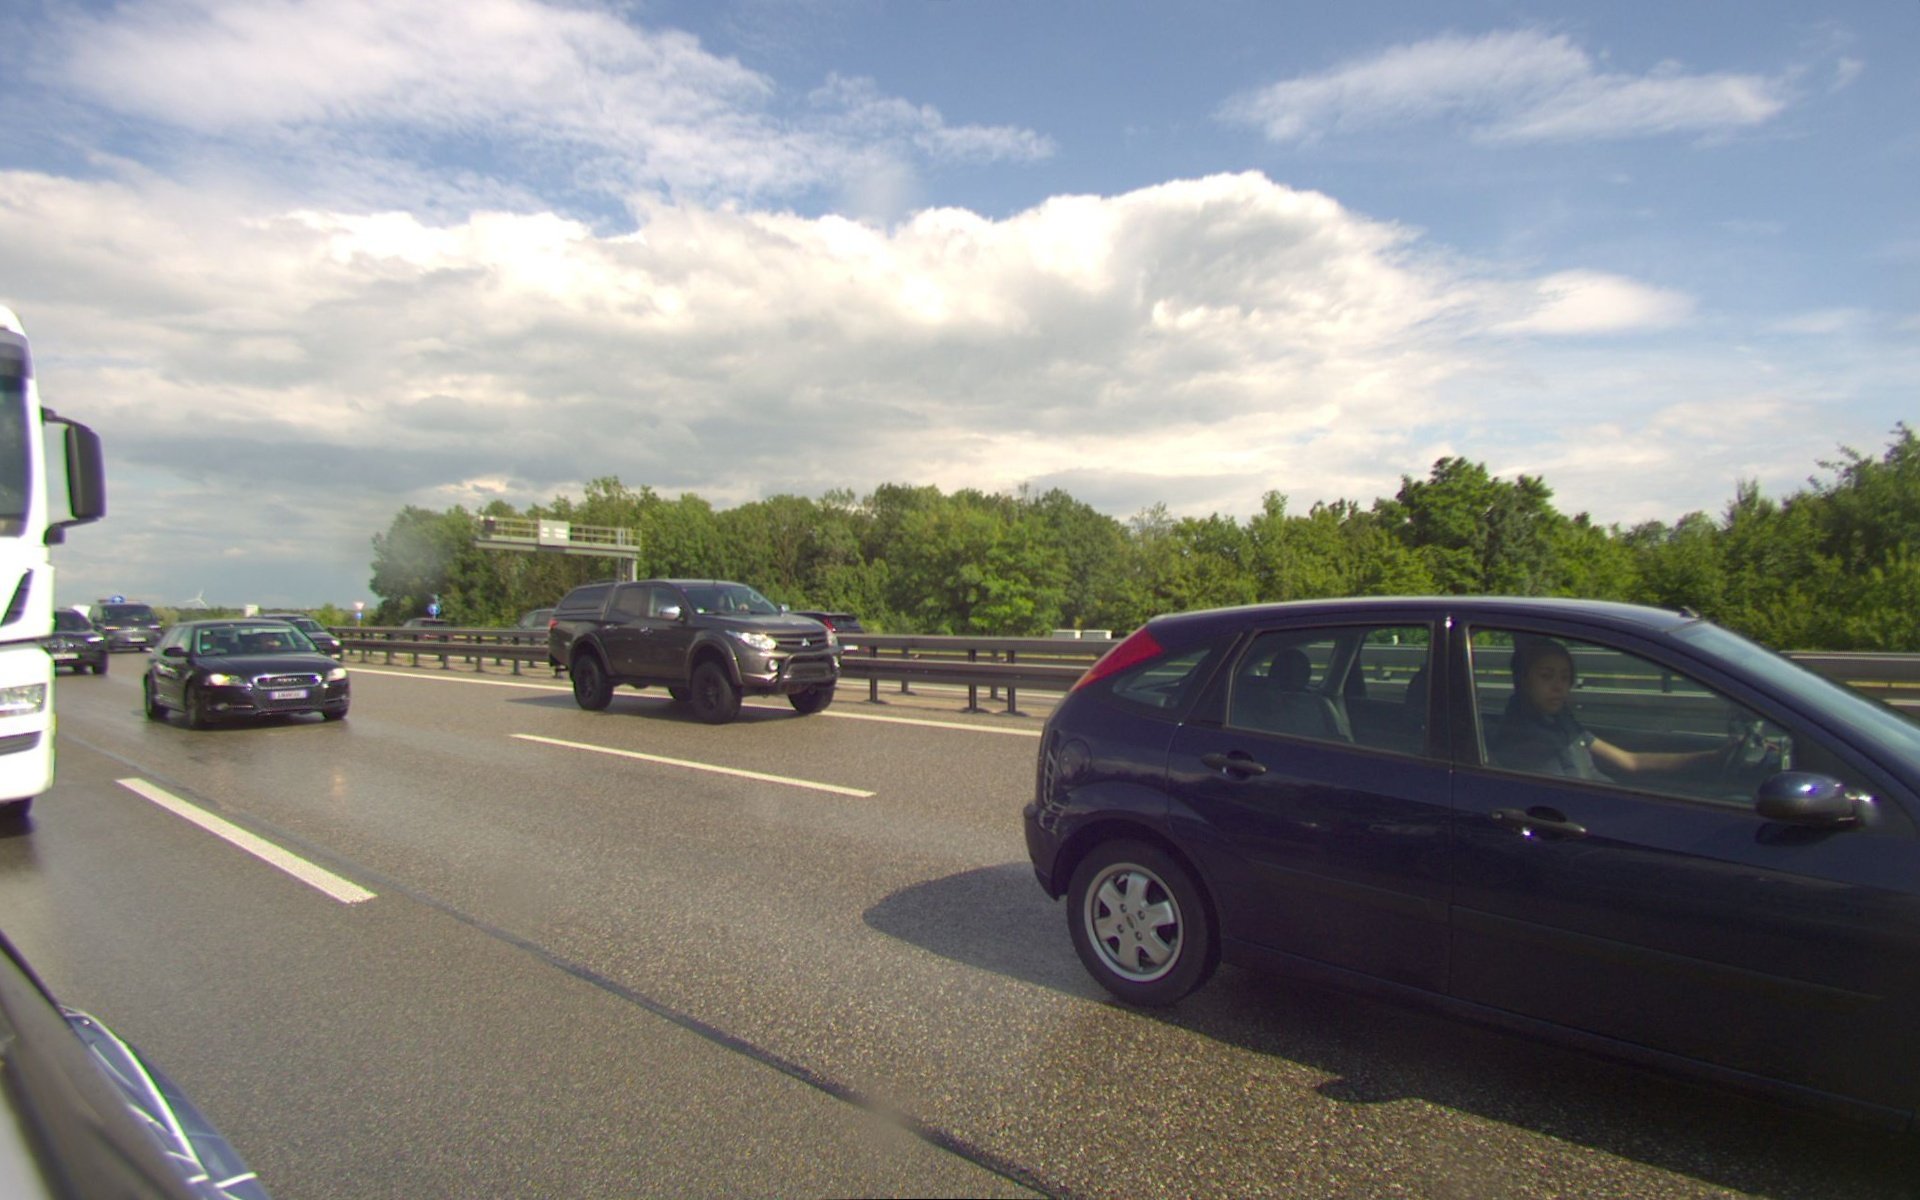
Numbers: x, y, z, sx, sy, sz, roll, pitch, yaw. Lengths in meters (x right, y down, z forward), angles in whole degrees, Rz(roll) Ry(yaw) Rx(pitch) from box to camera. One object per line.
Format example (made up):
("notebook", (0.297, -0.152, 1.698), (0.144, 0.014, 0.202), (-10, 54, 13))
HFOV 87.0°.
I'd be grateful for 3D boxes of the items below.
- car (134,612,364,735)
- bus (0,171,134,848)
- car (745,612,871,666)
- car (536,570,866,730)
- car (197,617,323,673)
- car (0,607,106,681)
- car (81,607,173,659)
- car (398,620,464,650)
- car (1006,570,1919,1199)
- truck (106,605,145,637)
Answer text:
("car", (-9.970, 0.922, 14.083), (4.052, 1.444, 1.732), (-1, -1, 41))
("bus", (-10.114, -0.477, 8.852), (9.840, 4.159, 2.867), (-1, 0, 41))
("car", (-4.439, 1.102, 29.308), (3.634, 1.444, 1.731), (-1, -1, 43))
("car", (-3.829, 0.623, 14.238), (5.416, 1.858, 1.787), (-1, -1, 42))
("car", (-19.854, 1.226, 28.639), (4.370, 1.435, 1.900), (-1, -1, 41))
("car", (-23.377, 1.060, 25.680), (4.622, 1.692, 1.858), (-1, -1, 40))
("car", (-33.480, 1.276, 40.616), (5.232, 1.932, 1.973), (-1, -1, 41))
("car", (-25.411, 1.639, 48.594), (3.439, 1.364, 1.671), (-1, -1, 41))
("car", (2.253, 0.668, 3.301), (3.998, 1.454, 1.740), (-1, -1, 42))
("truck", (-105.411, 2.648, 127.752), (8.919, 3.913, 2.762), (-1, -1, 44))
